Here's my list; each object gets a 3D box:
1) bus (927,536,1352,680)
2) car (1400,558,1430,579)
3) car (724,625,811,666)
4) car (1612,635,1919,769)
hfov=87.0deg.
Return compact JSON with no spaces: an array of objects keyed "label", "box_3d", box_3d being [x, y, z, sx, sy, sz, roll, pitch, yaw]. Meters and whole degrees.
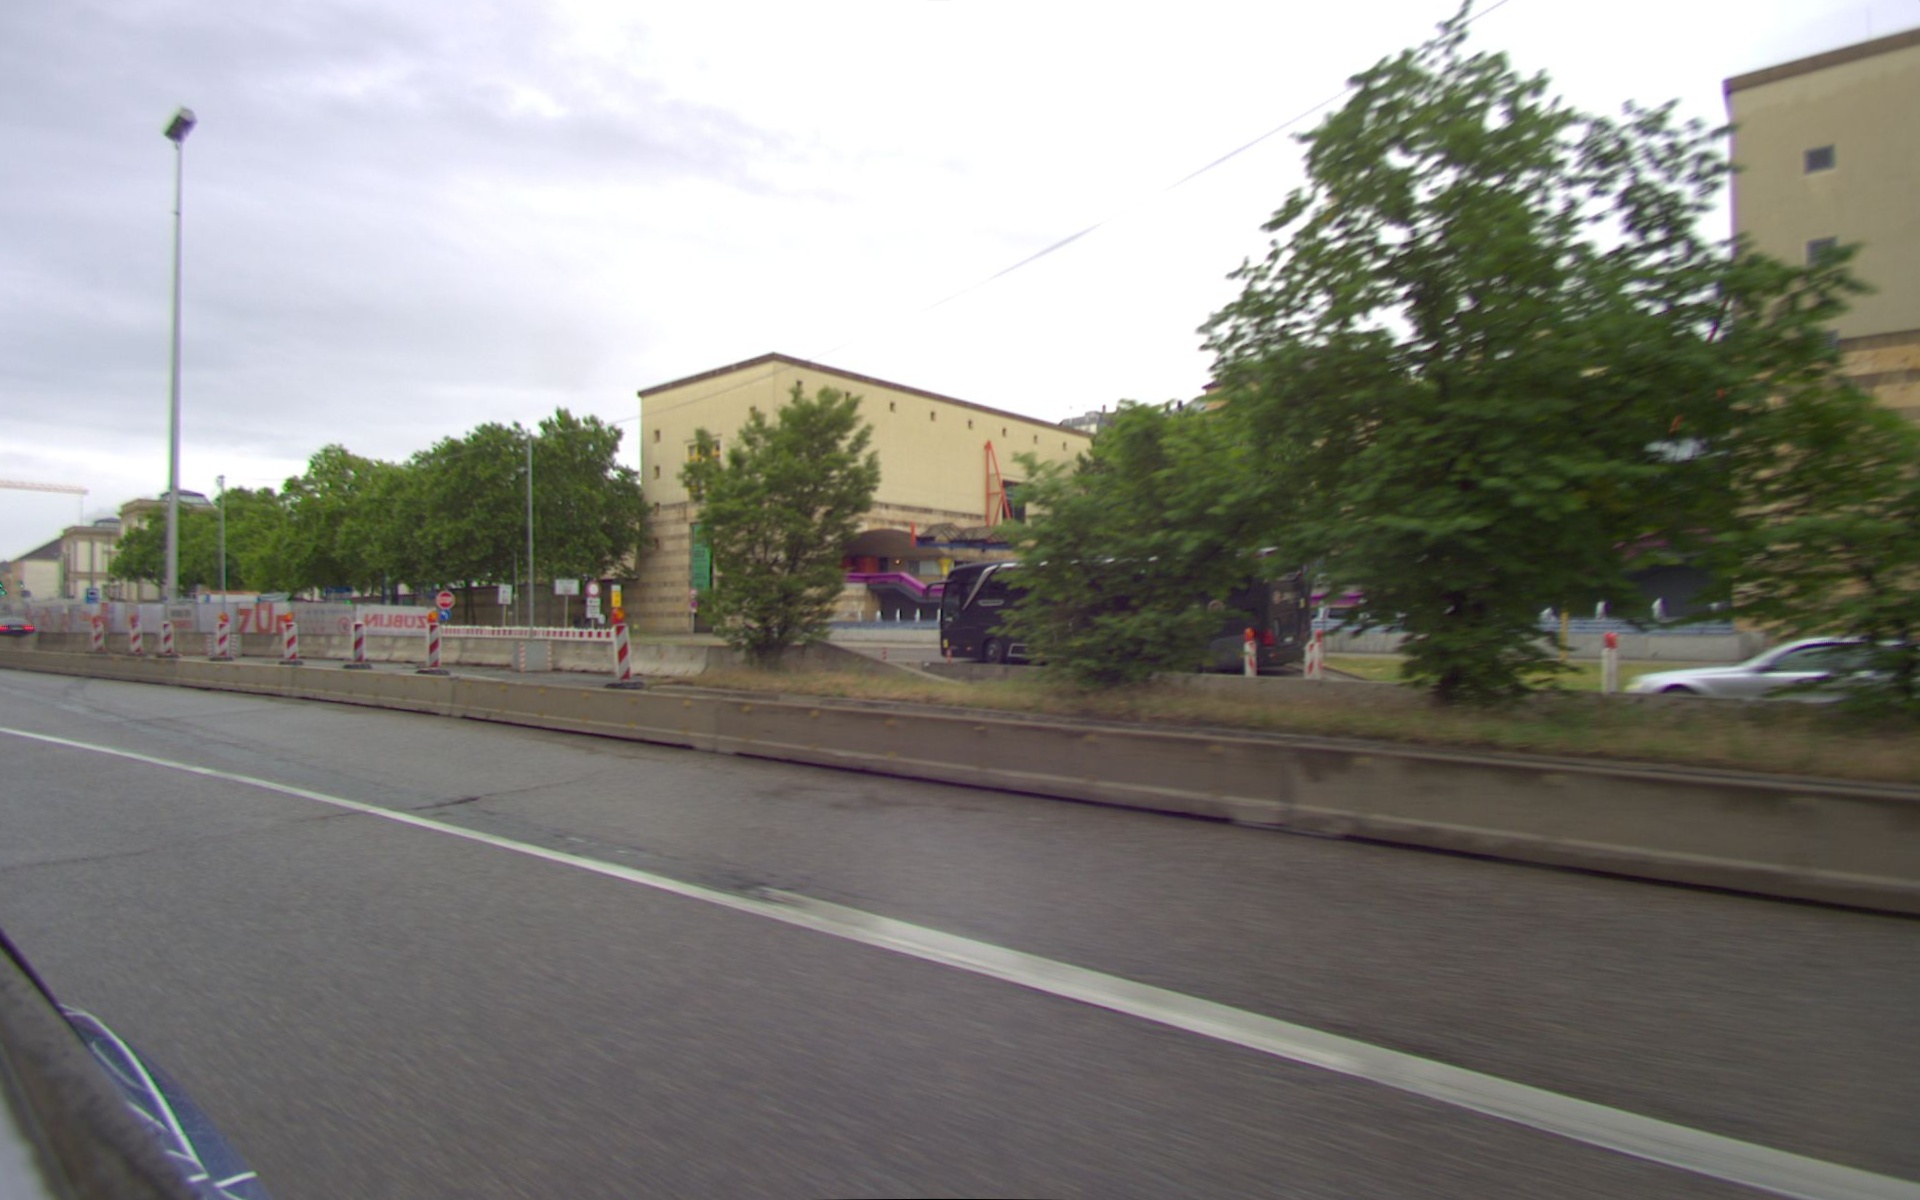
[{"label":"bus","box_3d":[5.003,0.337,33.073,14.602,3.840,2.773,-2,0,44]},{"label":"car","box_3d":[44.365,-3.052,98.588,1.811,1.796,3.949,0,-2,38]},{"label":"car","box_3d":[-7.469,1.738,39.175,3.210,1.512,1.576,-1,-4,38]},{"label":"car","box_3d":[12.170,1.364,14.229,4.808,1.637,1.972,0,-3,43]}]
